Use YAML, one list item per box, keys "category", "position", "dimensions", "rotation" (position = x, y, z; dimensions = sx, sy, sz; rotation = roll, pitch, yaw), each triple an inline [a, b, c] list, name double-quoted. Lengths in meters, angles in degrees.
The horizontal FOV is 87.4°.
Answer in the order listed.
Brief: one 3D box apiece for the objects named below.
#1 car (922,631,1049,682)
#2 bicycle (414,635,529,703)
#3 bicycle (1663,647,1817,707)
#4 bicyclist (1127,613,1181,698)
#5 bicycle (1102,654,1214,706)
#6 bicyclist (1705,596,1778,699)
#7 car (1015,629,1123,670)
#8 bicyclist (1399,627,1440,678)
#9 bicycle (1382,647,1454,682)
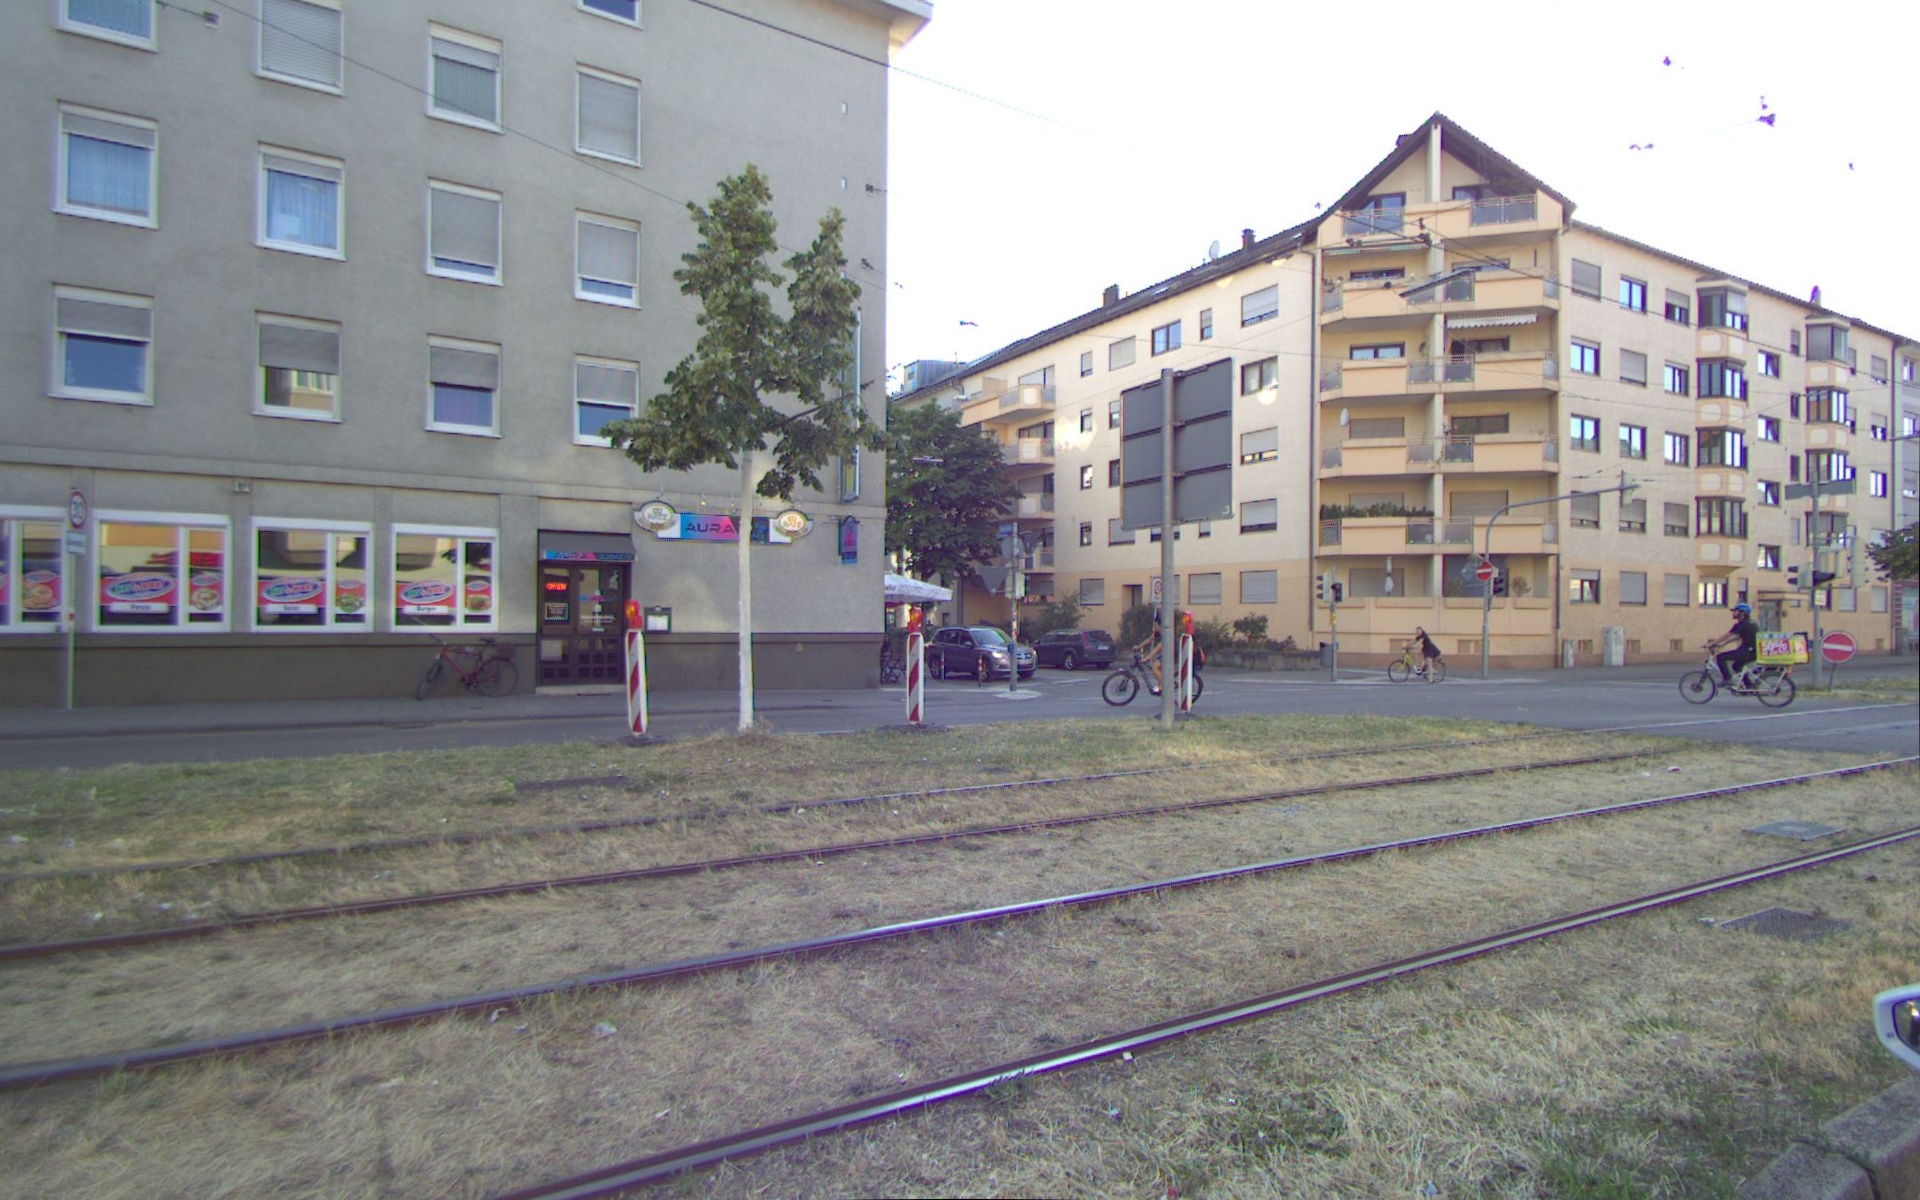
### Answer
- category: "car"
  position: [0.734, 1.716, 31.265]
  dimensions: [1.751, 1.406, 4.074]
  rotation: [2, -2, -39]
- category: "bicycle"
  position: [-8.567, 1.179, 17.616]
  dimensions: [1.757, 1.129, 0.743]
  rotation: [1, -1, -31]
- category: "bicycle"
  position: [13.944, 1.345, 18.025]
  dimensions: [0.738, 0.971, 2.061]
  rotation: [1, -2, -32]
- category: "bicyclist"
  position: [3.593, 1.026, 18.646]
  dimensions: [0.888, 1.546, 0.648]
  rotation: [0, -1, 1]
- category: "bicycle"
  position: [3.650, 1.475, 18.646]
  dimensions: [1.945, 0.906, 0.786]
  rotation: [0, -1, 2]
- category: "bicyclist"
  position: [13.984, 0.837, 17.983]
  dimensions: [0.712, 1.776, 0.789]
  rotation: [2, 0, -32]
- category: "car"
  position: [4.029, 1.809, 37.560]
  dimensions: [1.776, 1.458, 3.926]
  rotation: [2, -2, -39]
- category: "bicyclist"
  position: [13.408, 1.521, 29.324]
  dimensions: [0.946, 1.466, 0.529]
  rotation: [0, -1, 0]
- category: "bicycle"
  position: [13.359, 1.868, 29.317]
  dimensions: [1.846, 0.997, 0.529]
  rotation: [0, -1, 0]
